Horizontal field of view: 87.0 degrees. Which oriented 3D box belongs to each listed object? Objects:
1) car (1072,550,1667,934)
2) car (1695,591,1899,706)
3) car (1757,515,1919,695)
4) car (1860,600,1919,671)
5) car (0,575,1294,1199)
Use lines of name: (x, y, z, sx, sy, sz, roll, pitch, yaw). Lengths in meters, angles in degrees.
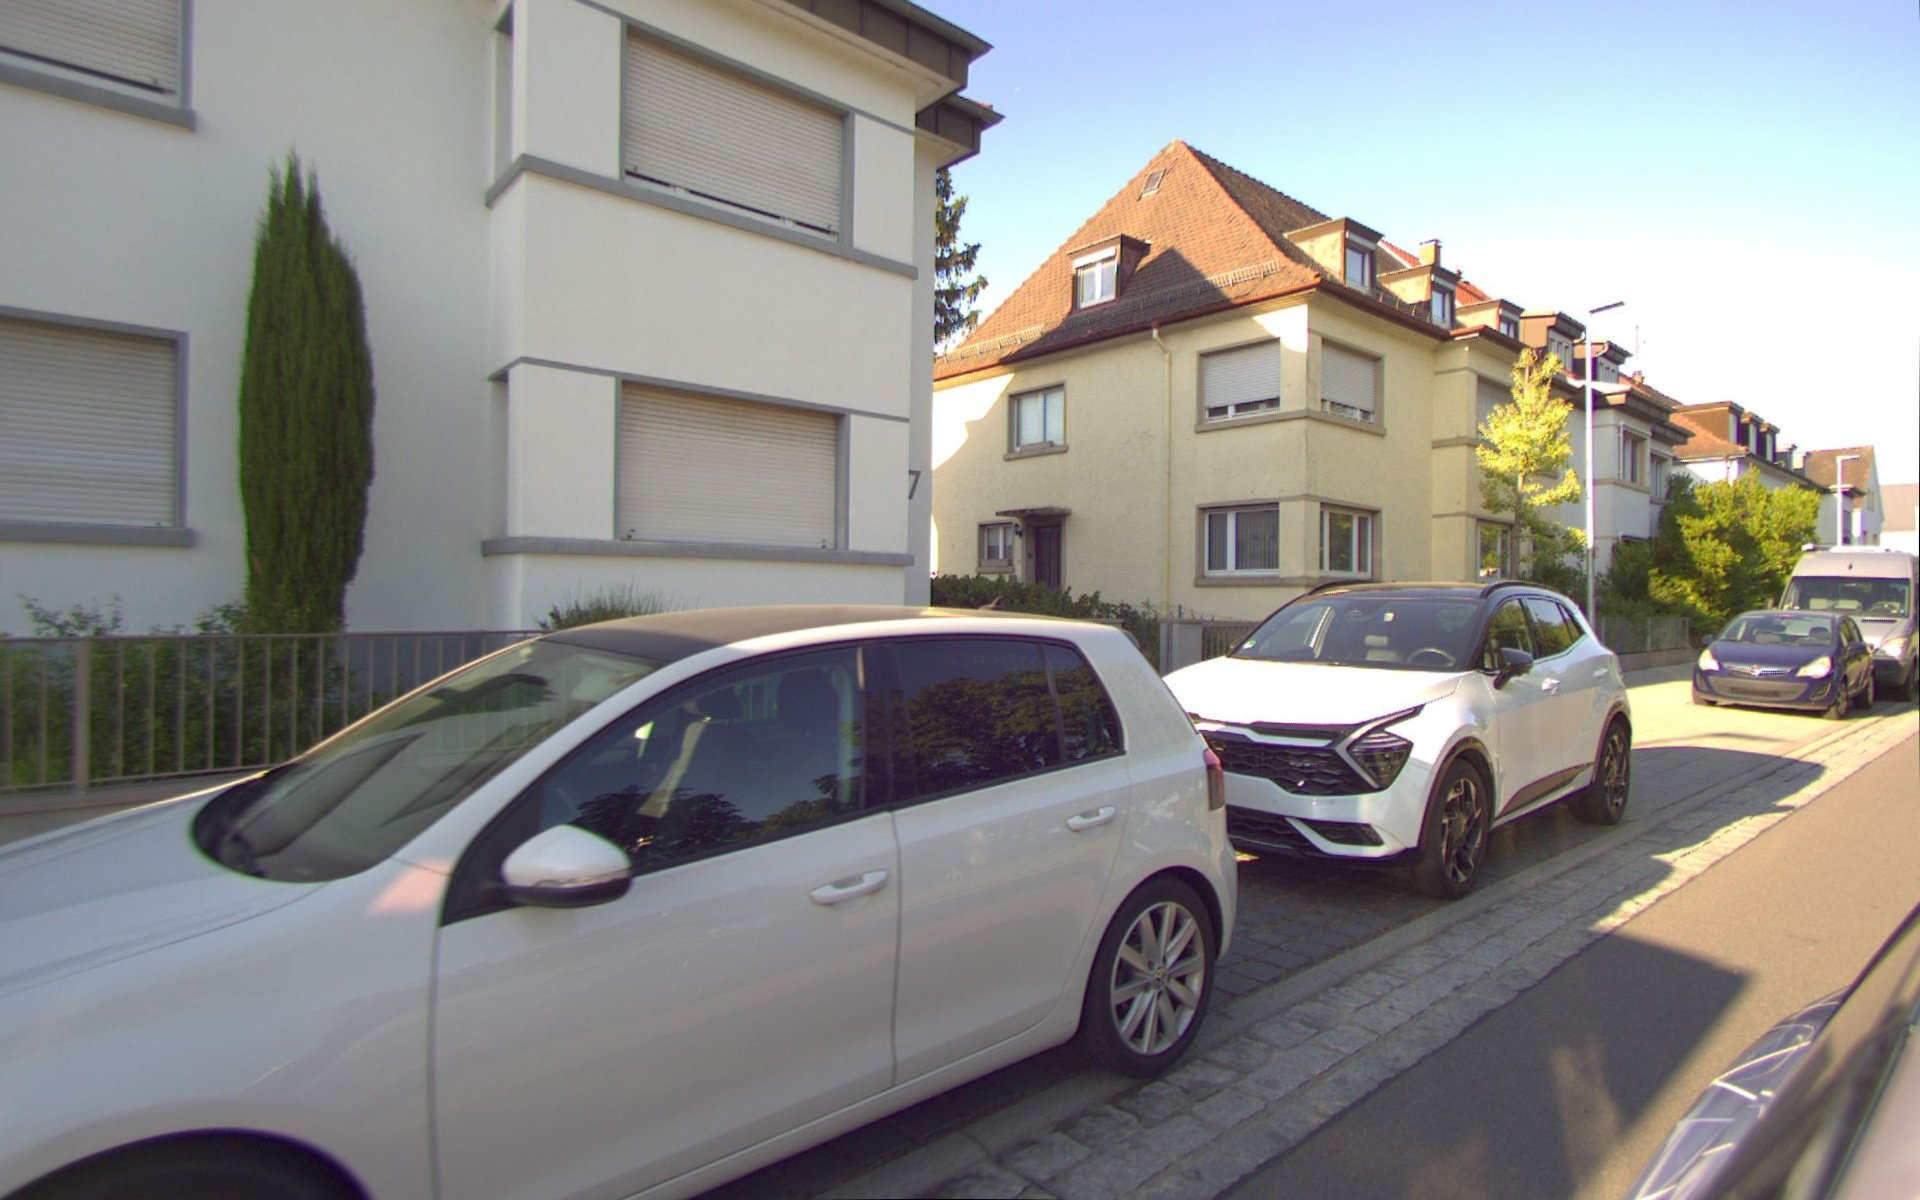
car: (2.873, 0.600, 6.524, 4.402, 1.666, 1.780, 0, 1, -41)
car: (12.528, 0.623, 15.076, 3.933, 1.457, 1.629, 0, 2, -40)
car: (16.979, 0.096, 18.937, 5.882, 2.890, 2.132, 0, -1, -41)
car: (21.664, 0.766, 22.896, 3.297, 1.518, 1.467, 0, 0, -40)
car: (-0.871, 0.701, 2.943, 4.035, 1.501, 1.625, 0, 1, -40)
